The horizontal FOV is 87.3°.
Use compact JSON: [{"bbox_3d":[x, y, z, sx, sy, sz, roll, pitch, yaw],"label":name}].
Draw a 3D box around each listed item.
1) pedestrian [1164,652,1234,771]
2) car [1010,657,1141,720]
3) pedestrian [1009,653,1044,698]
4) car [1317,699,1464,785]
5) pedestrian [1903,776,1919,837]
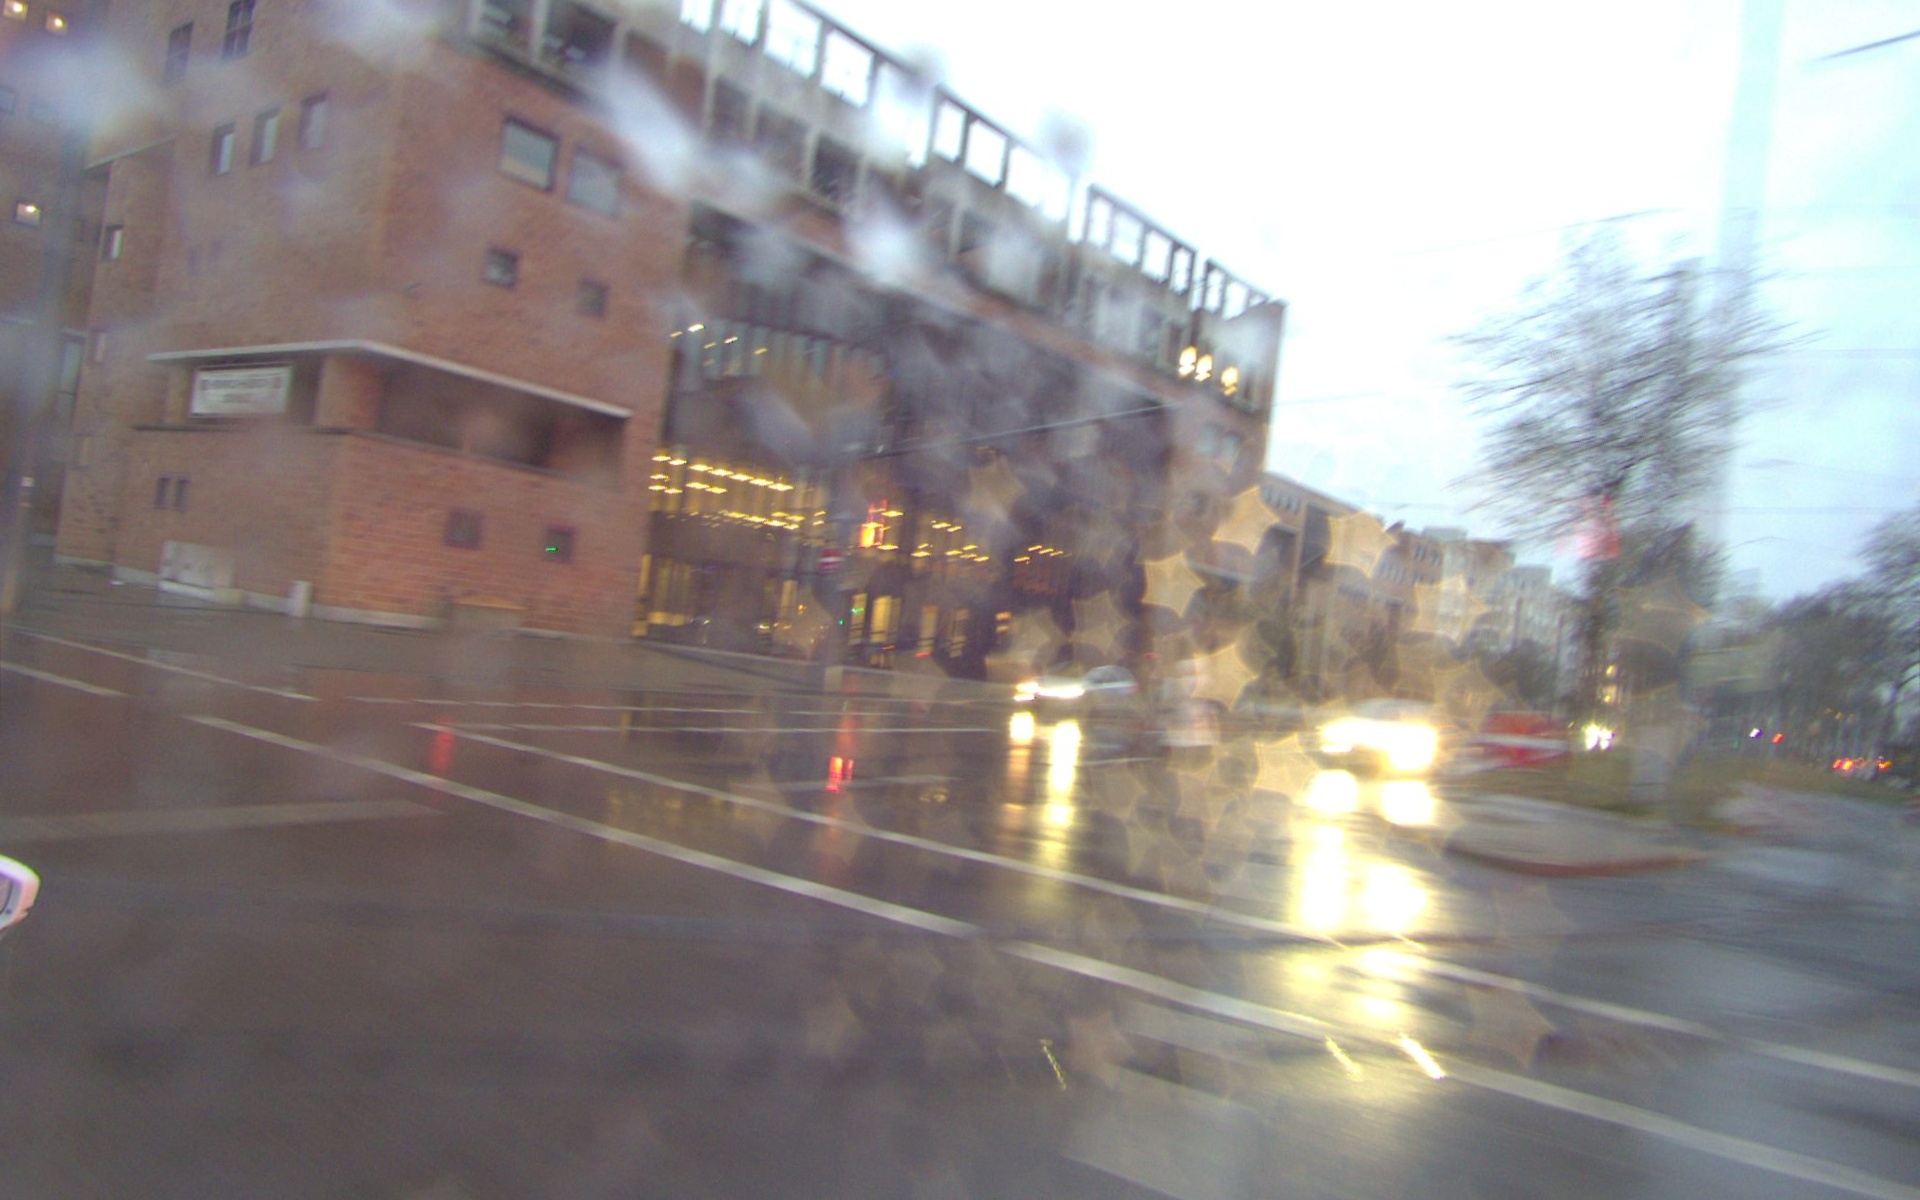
[{"bbox_3d":[3.907,1.807,16.407,0.723,1.808,0.735,7,-1,31],"label":"pedestrian"},{"bbox_3d":[3.276,2.484,27.901,1.787,1.324,3.985,6,-3,36],"label":"car"},{"bbox_3d":[2.277,2.565,34.297,0.733,1.405,0.730,8,-2,-34],"label":"pedestrian"},{"bbox_3d":[8.966,2.856,20.755,1.787,1.357,3.981,6,-1,37],"label":"car"},{"bbox_3d":[23.060,4.975,24.177,0.472,1.380,0.604,6,-1,43],"label":"pedestrian"}]
